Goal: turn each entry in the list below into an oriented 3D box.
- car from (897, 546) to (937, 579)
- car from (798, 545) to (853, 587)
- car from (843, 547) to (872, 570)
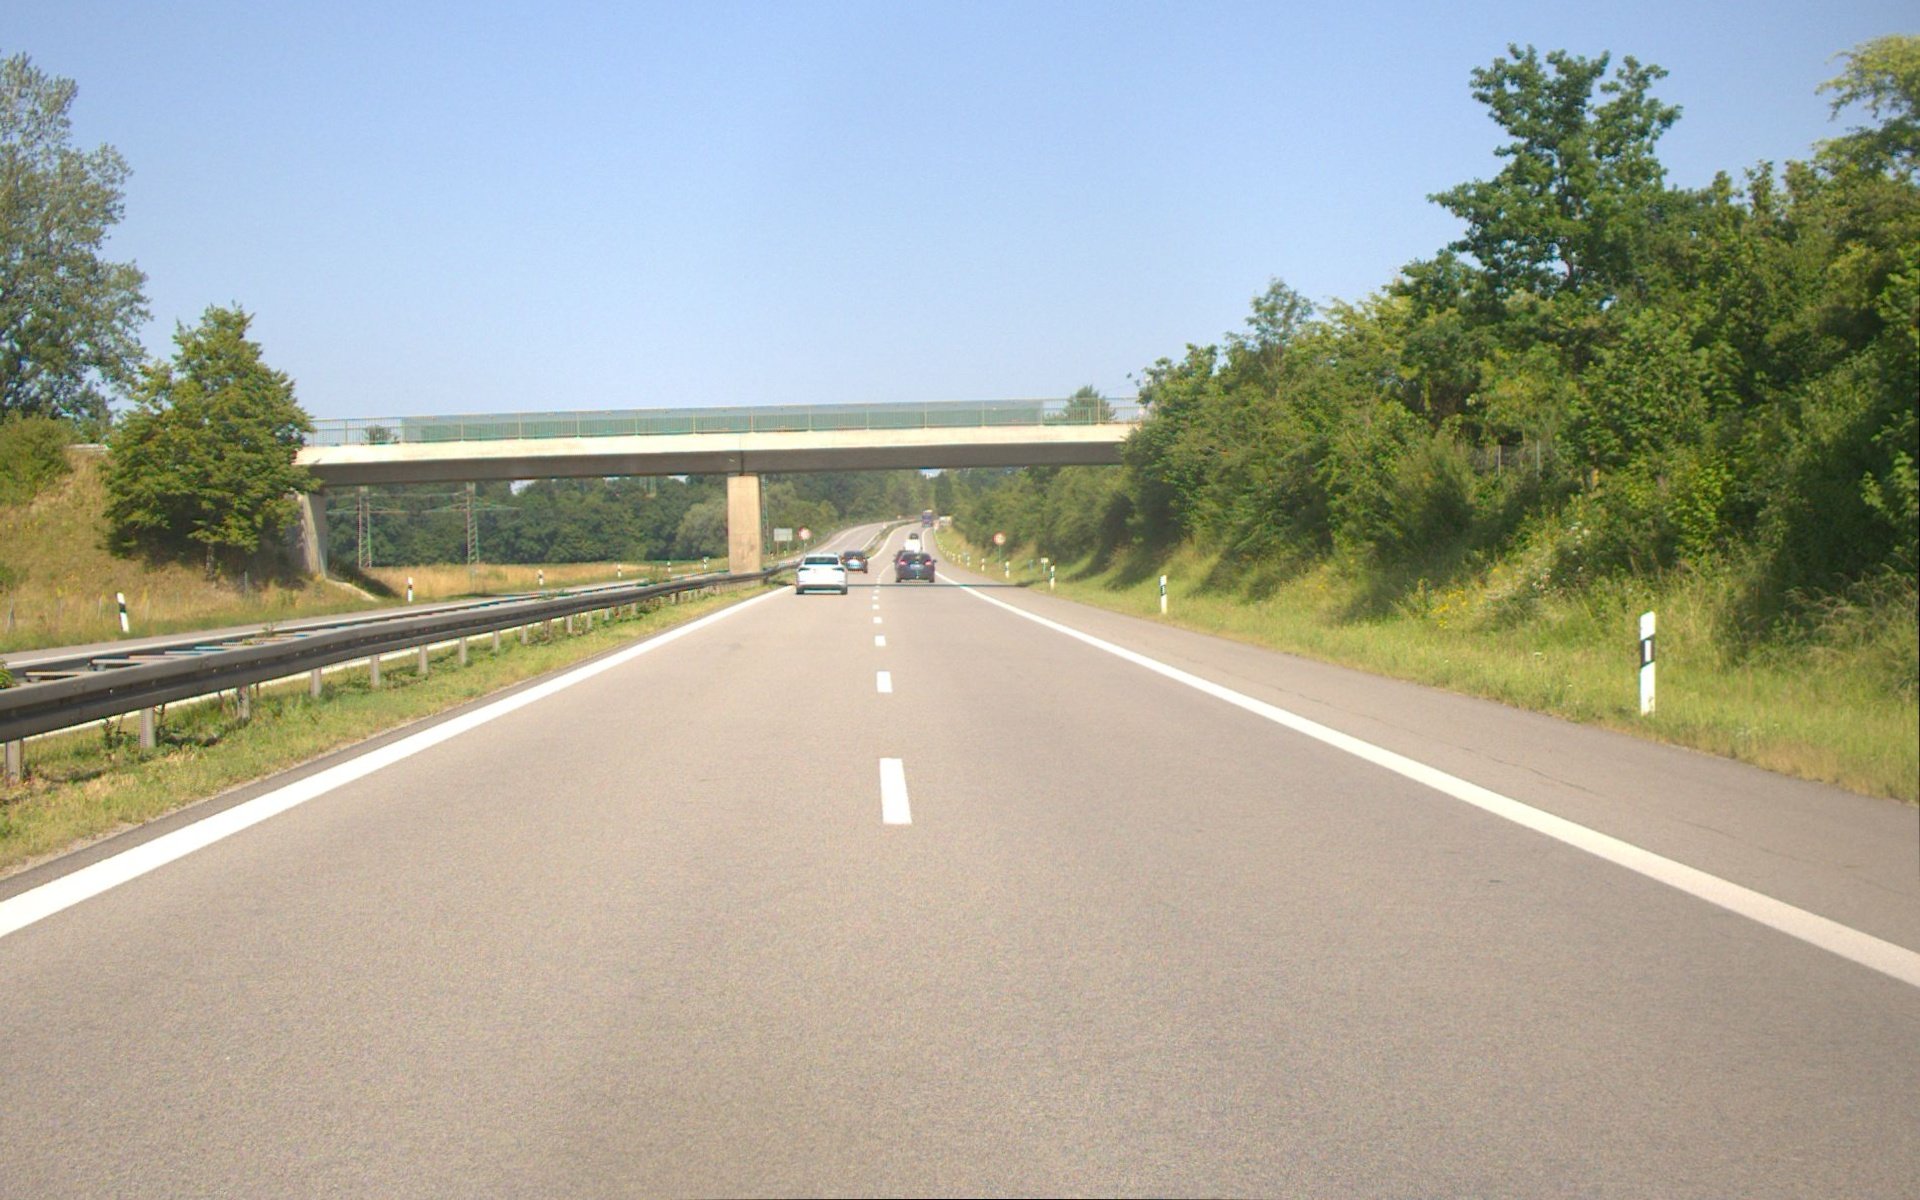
[{"bbox_3d":[-2.076,-1.812,164.619,1.843,1.515,4.000,1,1,-2],"label":"car"},{"bbox_3d":[-4.687,-1.181,120.168,1.843,1.411,4.000,1,1,-2],"label":"car"},{"bbox_3d":[-6.688,-2.709,225.164,1.843,1.431,4.000,1,1,-2],"label":"car"}]
